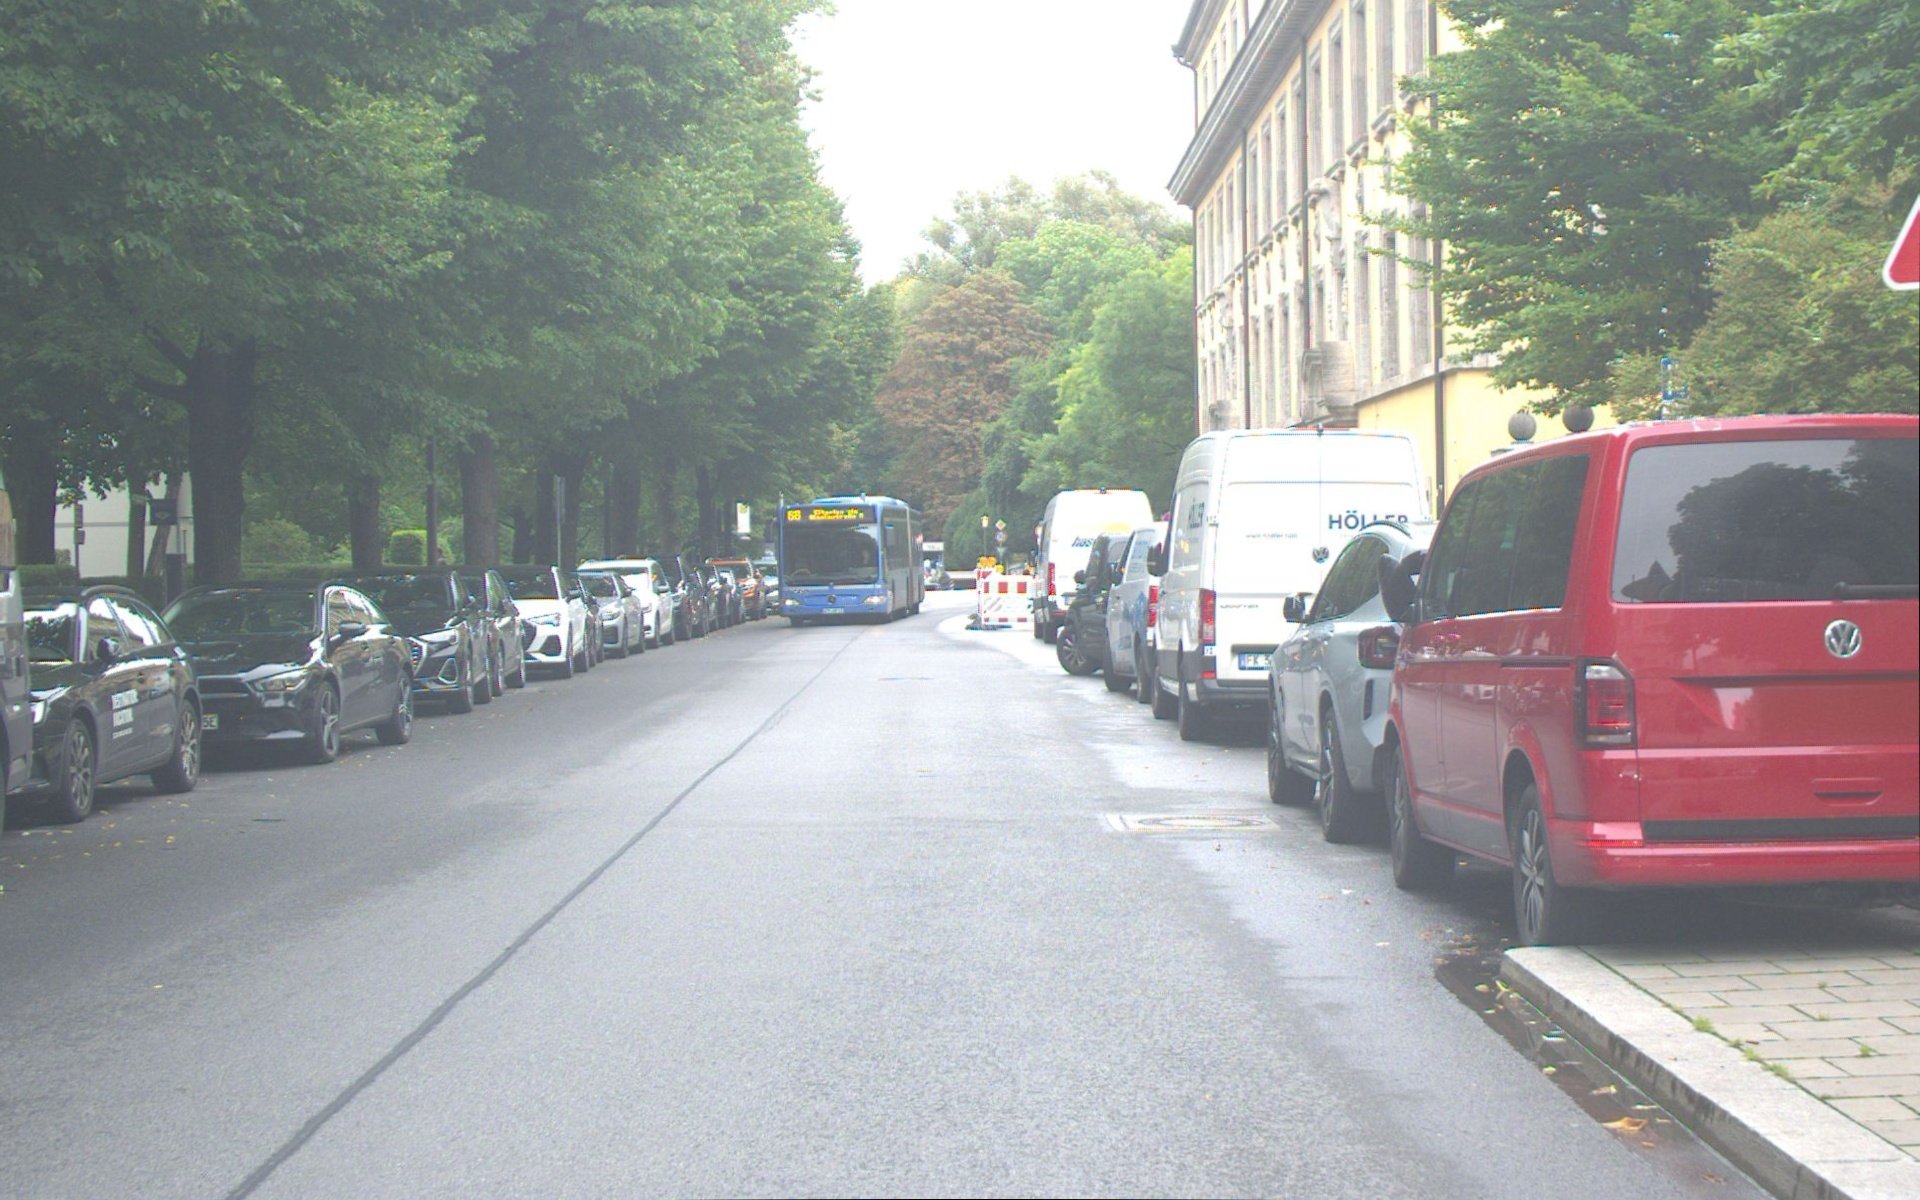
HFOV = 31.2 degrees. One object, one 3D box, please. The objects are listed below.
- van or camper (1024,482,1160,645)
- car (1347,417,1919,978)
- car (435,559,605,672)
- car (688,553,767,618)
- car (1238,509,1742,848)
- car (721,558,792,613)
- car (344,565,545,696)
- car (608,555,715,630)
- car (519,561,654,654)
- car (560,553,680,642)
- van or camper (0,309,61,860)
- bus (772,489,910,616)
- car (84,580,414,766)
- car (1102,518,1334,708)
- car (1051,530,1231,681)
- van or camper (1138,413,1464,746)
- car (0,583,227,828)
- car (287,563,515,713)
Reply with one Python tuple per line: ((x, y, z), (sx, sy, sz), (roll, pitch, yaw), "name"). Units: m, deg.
((2.305, -0.664, 61.507), (2.115, 2.723, 5.243), (-2, 1, 0), "van or camper")
((2.900, 0.282, 13.846), (1.991, 1.833, 4.714), (-2, 1, -1), "car")
((-6.051, 0.182, 47.662), (1.852, 1.468, 4.000), (-1, 1, -1), "car")
((-6.236, -0.410, 92.505), (1.852, 1.695, 4.000), (-1, 1, -1), "car")
((2.789, 0.359, 19.109), (1.991, 1.603, 4.322), (-2, 1, -1), "car")
((-5.975, -0.444, 101.233), (1.852, 1.566, 4.000), (-1, 1, -1), "car")
((-6.194, 0.332, 41.712), (1.852, 1.468, 4.000), (-1, 1, -1), "car")
((-6.057, -0.173, 70.149), (1.852, 1.468, 4.000), (-1, 1, -1), "car")
((-6.235, 0.100, 57.773), (1.852, 1.468, 4.000), (-1, 1, -1), "car")
((-6.242, -0.065, 63.486), (1.852, 1.558, 4.000), (-1, 1, -1), "car")
((-6.096, -0.038, 16.419), (2.001, 2.935, 6.011), (-2, 1, -1), "van or camper")
((-2.836, -1.193, 86.253), (2.713, 2.889, 14.554), (-1, 1, 1), "bus")
((-5.688, 0.543, 27.961), (1.874, 1.343, 4.000), (-1, 1, -1), "car")
((2.682, 0.101, 36.692), (1.991, 1.838, 4.322), (-2, 1, -1), "car")
((2.347, 0.039, 45.620), (1.991, 1.838, 4.322), (-2, 1, -1), "car")
((2.799, -0.196, 29.491), (2.132, 2.537, 5.243), (-2, 1, -1), "van or camper")
((-6.133, 0.626, 22.410), (1.874, 1.412, 4.000), (-1, 1, -1), "car")
((-5.884, 0.361, 36.605), (1.852, 1.468, 4.000), (-1, 1, -2), "car")
